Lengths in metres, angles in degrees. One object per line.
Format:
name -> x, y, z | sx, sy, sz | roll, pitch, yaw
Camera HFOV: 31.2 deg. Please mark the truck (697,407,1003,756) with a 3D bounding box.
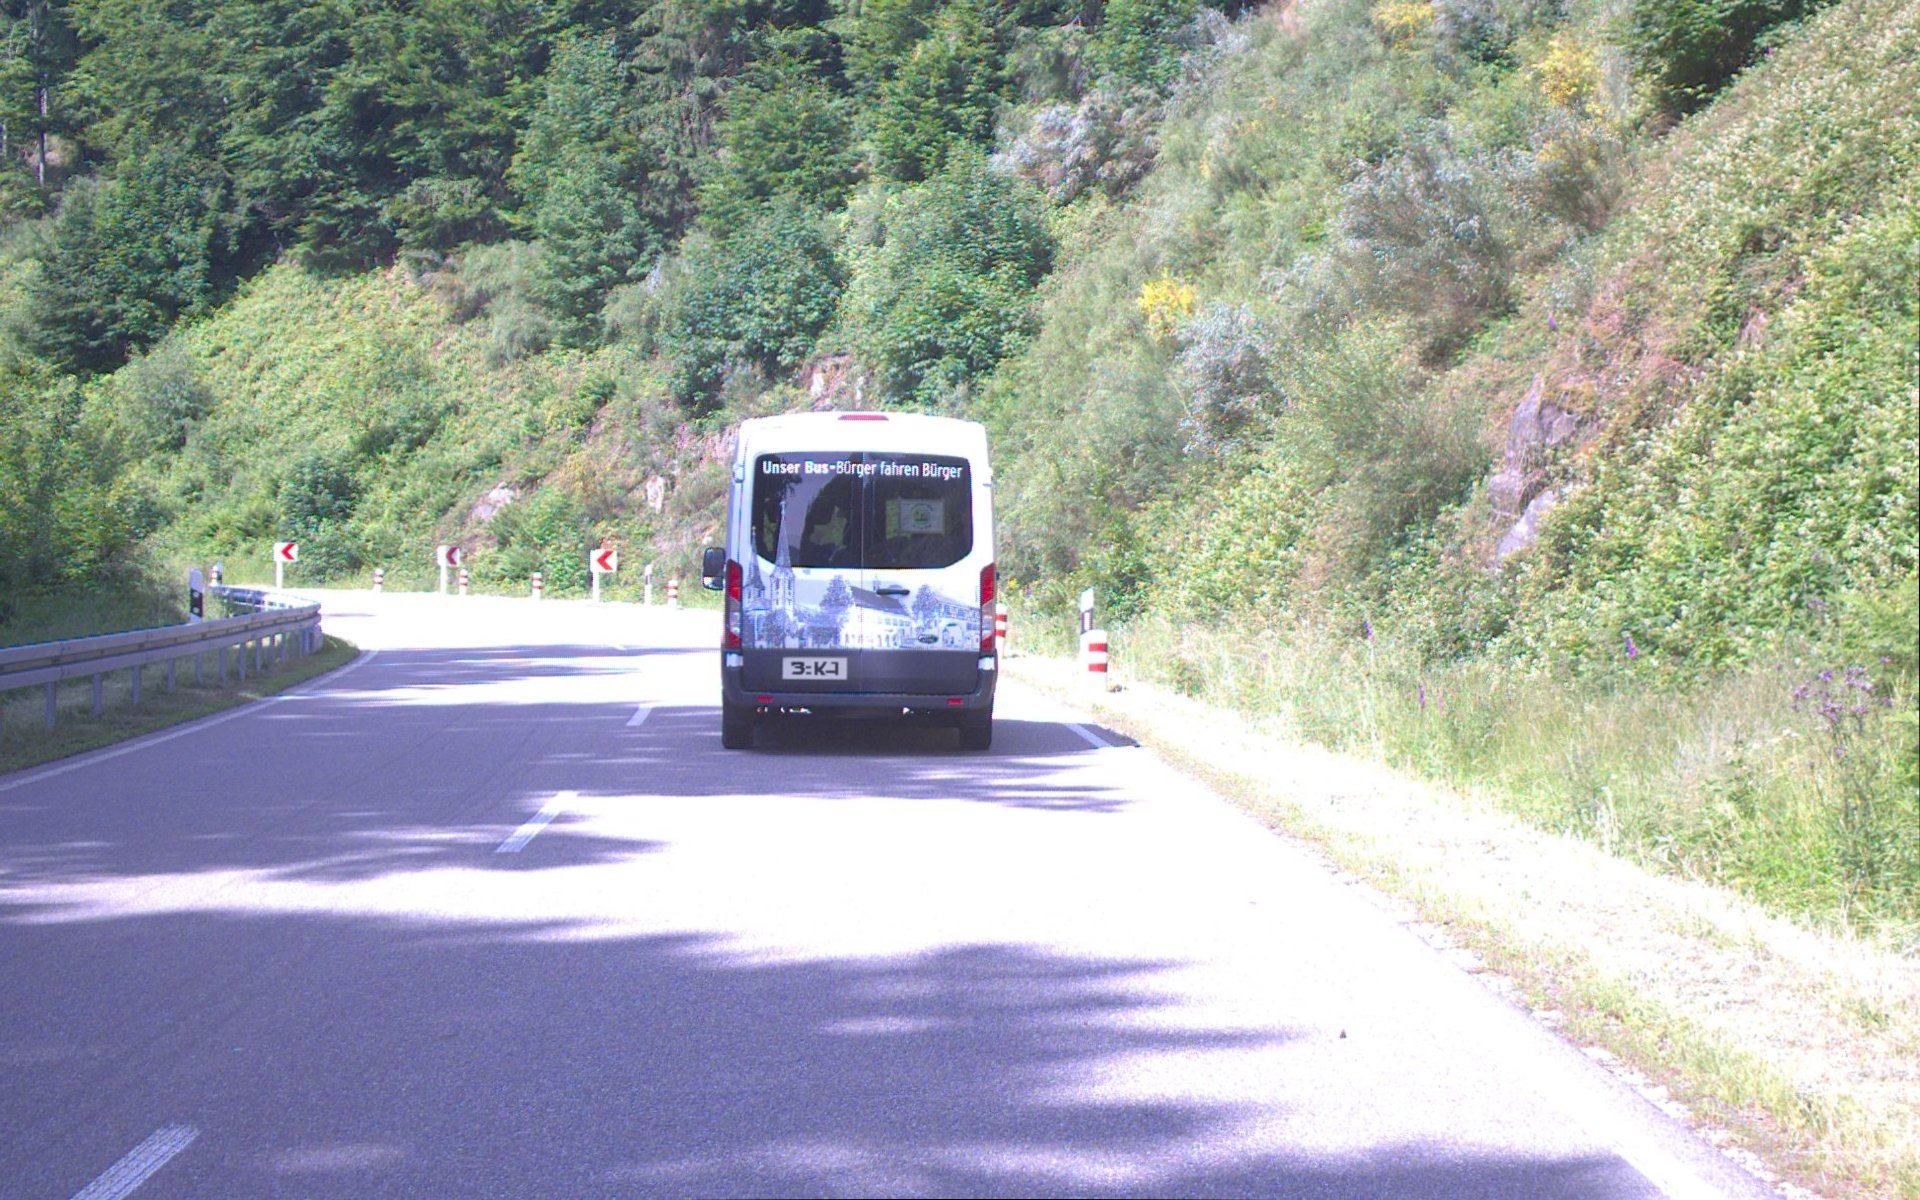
truck -> -0.959, -0.170, 26.687 | 2.083, 2.451, 4.876 | 0, 1, -5
